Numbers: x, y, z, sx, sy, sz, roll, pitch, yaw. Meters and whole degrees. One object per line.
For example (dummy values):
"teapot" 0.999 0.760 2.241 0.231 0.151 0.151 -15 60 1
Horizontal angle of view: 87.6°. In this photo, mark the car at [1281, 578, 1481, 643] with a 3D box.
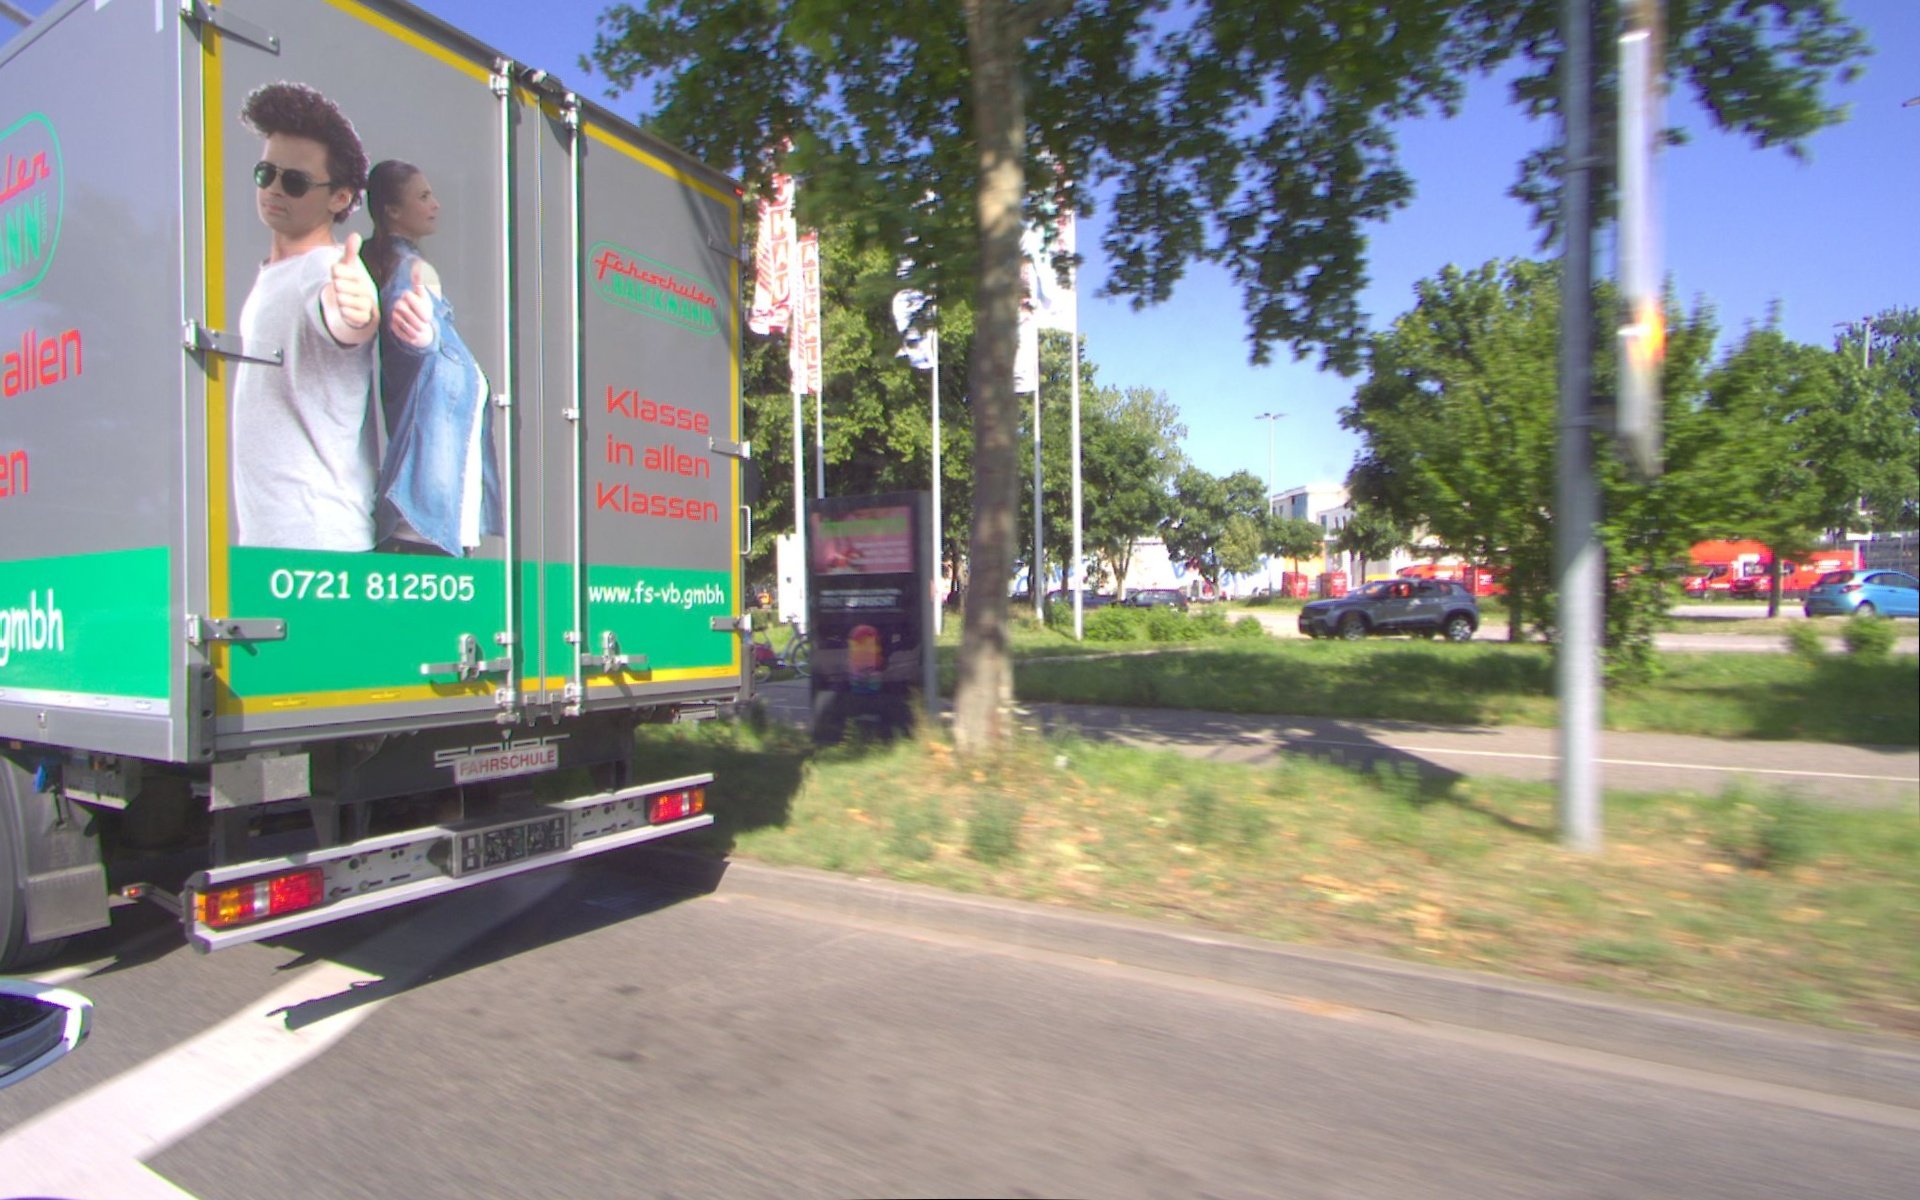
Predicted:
"car" 9.864 0.252 23.670 3.922 1.438 1.907 -1 -1 -2

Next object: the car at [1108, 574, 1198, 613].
"car" 8.956 -0.275 46.728 3.922 1.705 2.000 -1 -1 5

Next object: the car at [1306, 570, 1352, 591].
"car" 36.980 -1.948 100.388 3.925 2.039 1.999 0 -1 -11

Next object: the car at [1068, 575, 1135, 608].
"car" 8.620 -0.507 61.231 3.922 1.861 2.000 -1 -1 5

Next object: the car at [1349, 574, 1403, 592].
"car" 45.305 -1.881 109.251 5.045 1.777 2.001 -1 -1 3

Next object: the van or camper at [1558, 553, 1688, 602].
"van or camper" 42.296 -1.408 63.942 7.146 2.980 2.000 0 -1 -4

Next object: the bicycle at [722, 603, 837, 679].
"bicycle" -3.032 0.672 16.994 1.887 1.154 0.492 -3 1 -40

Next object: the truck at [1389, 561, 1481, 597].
"truck" 34.245 -1.501 72.253 5.669 2.443 2.000 0 -1 -3

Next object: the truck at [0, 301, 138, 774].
"truck" -11.838 -0.422 10.250 8.600 3.941 2.723 -1 0 33

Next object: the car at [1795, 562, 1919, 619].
"car" 26.059 -0.251 28.428 3.419 1.552 1.544 -1 -1 -1

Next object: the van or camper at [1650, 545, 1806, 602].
"van or camper" 41.683 -1.409 54.422 7.146 2.980 2.000 0 -1 -4

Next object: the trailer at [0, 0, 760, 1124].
"trailer" -4.982 -0.472 5.885 7.625 3.928 2.730 -1 0 32
